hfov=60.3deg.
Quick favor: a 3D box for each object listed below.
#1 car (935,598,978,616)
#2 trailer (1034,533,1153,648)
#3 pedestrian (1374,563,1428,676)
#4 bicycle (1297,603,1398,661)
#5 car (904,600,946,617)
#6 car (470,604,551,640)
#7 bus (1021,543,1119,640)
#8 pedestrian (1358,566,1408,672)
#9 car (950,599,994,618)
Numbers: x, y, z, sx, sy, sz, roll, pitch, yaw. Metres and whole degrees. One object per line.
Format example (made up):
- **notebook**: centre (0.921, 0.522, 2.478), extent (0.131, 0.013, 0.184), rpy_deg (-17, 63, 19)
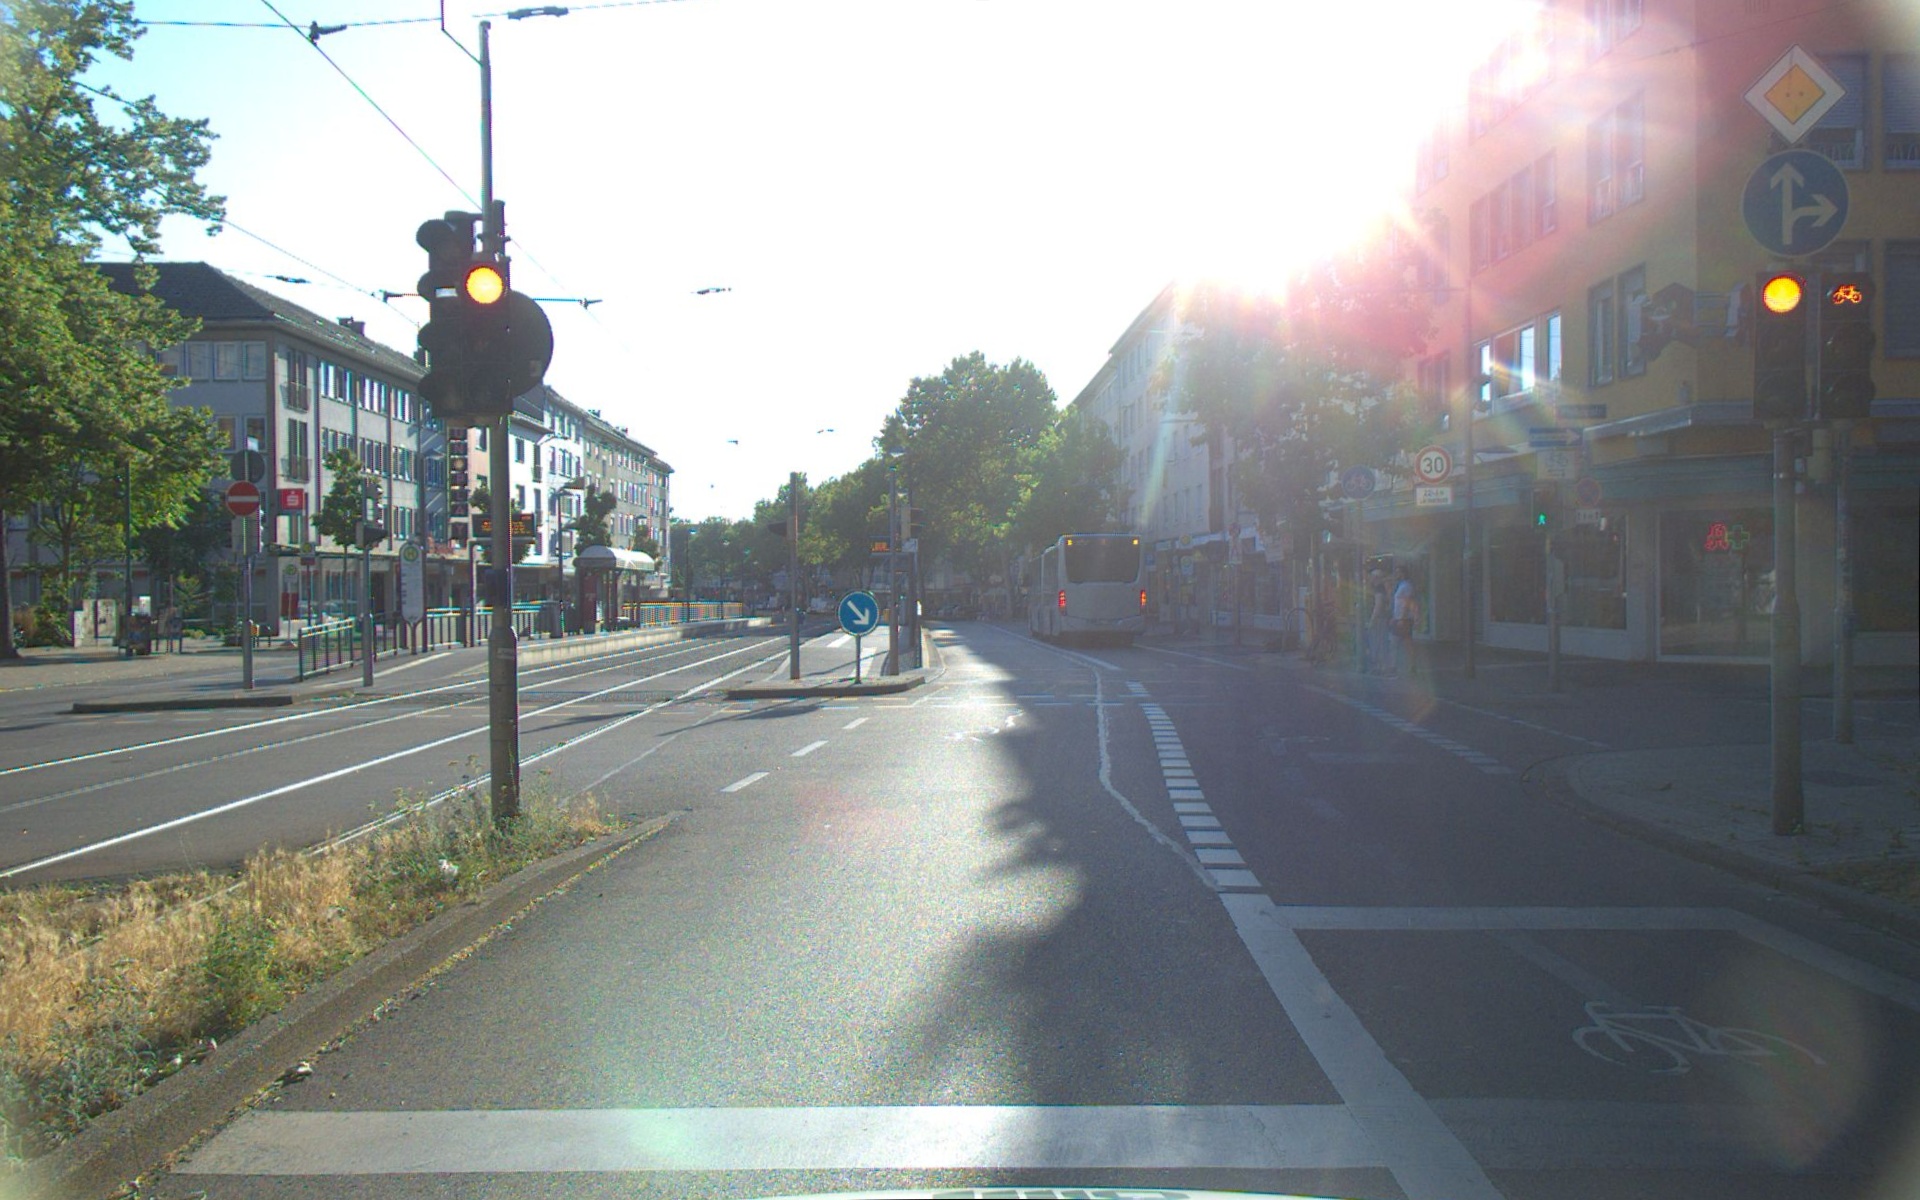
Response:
- **car**: centre (-0.334, 0.679, 162.114), extent (3.848, 1.729, 1.815), rpy_deg (-1, 0, -30)
- **trailer**: centre (3.932, -0.281, 50.570), extent (2.755, 3.164, 8.793), rpy_deg (1, 0, -1)
- **pedestrian**: centre (7.137, 0.308, 26.768), extent (0.666, 1.801, 0.687), rpy_deg (-1, 0, 0)
- **bicycle**: centre (7.492, 0.617, 32.020), extent (1.737, 1.039, 0.694), rpy_deg (-2, 0, -2)
- **car**: centre (-3.533, 0.878, 167.205), extent (3.848, 1.624, 1.674), rpy_deg (-1, 0, -30)
- **car**: centre (-24.456, 1.178, 90.078), extent (3.941, 1.847, 1.982), rpy_deg (-1, 0, -28)
- **bus**: centre (3.820, -0.293, 59.468), extent (2.755, 3.155, 9.092), rpy_deg (1, 0, -1)
- **pedestrian**: centre (7.277, 0.320, 28.470), extent (0.666, 1.801, 0.687), rpy_deg (-1, 0, 0)
- **car**: centre (1.195, 0.785, 159.390), extent (3.848, 1.729, 1.815), rpy_deg (-1, 0, -30)
